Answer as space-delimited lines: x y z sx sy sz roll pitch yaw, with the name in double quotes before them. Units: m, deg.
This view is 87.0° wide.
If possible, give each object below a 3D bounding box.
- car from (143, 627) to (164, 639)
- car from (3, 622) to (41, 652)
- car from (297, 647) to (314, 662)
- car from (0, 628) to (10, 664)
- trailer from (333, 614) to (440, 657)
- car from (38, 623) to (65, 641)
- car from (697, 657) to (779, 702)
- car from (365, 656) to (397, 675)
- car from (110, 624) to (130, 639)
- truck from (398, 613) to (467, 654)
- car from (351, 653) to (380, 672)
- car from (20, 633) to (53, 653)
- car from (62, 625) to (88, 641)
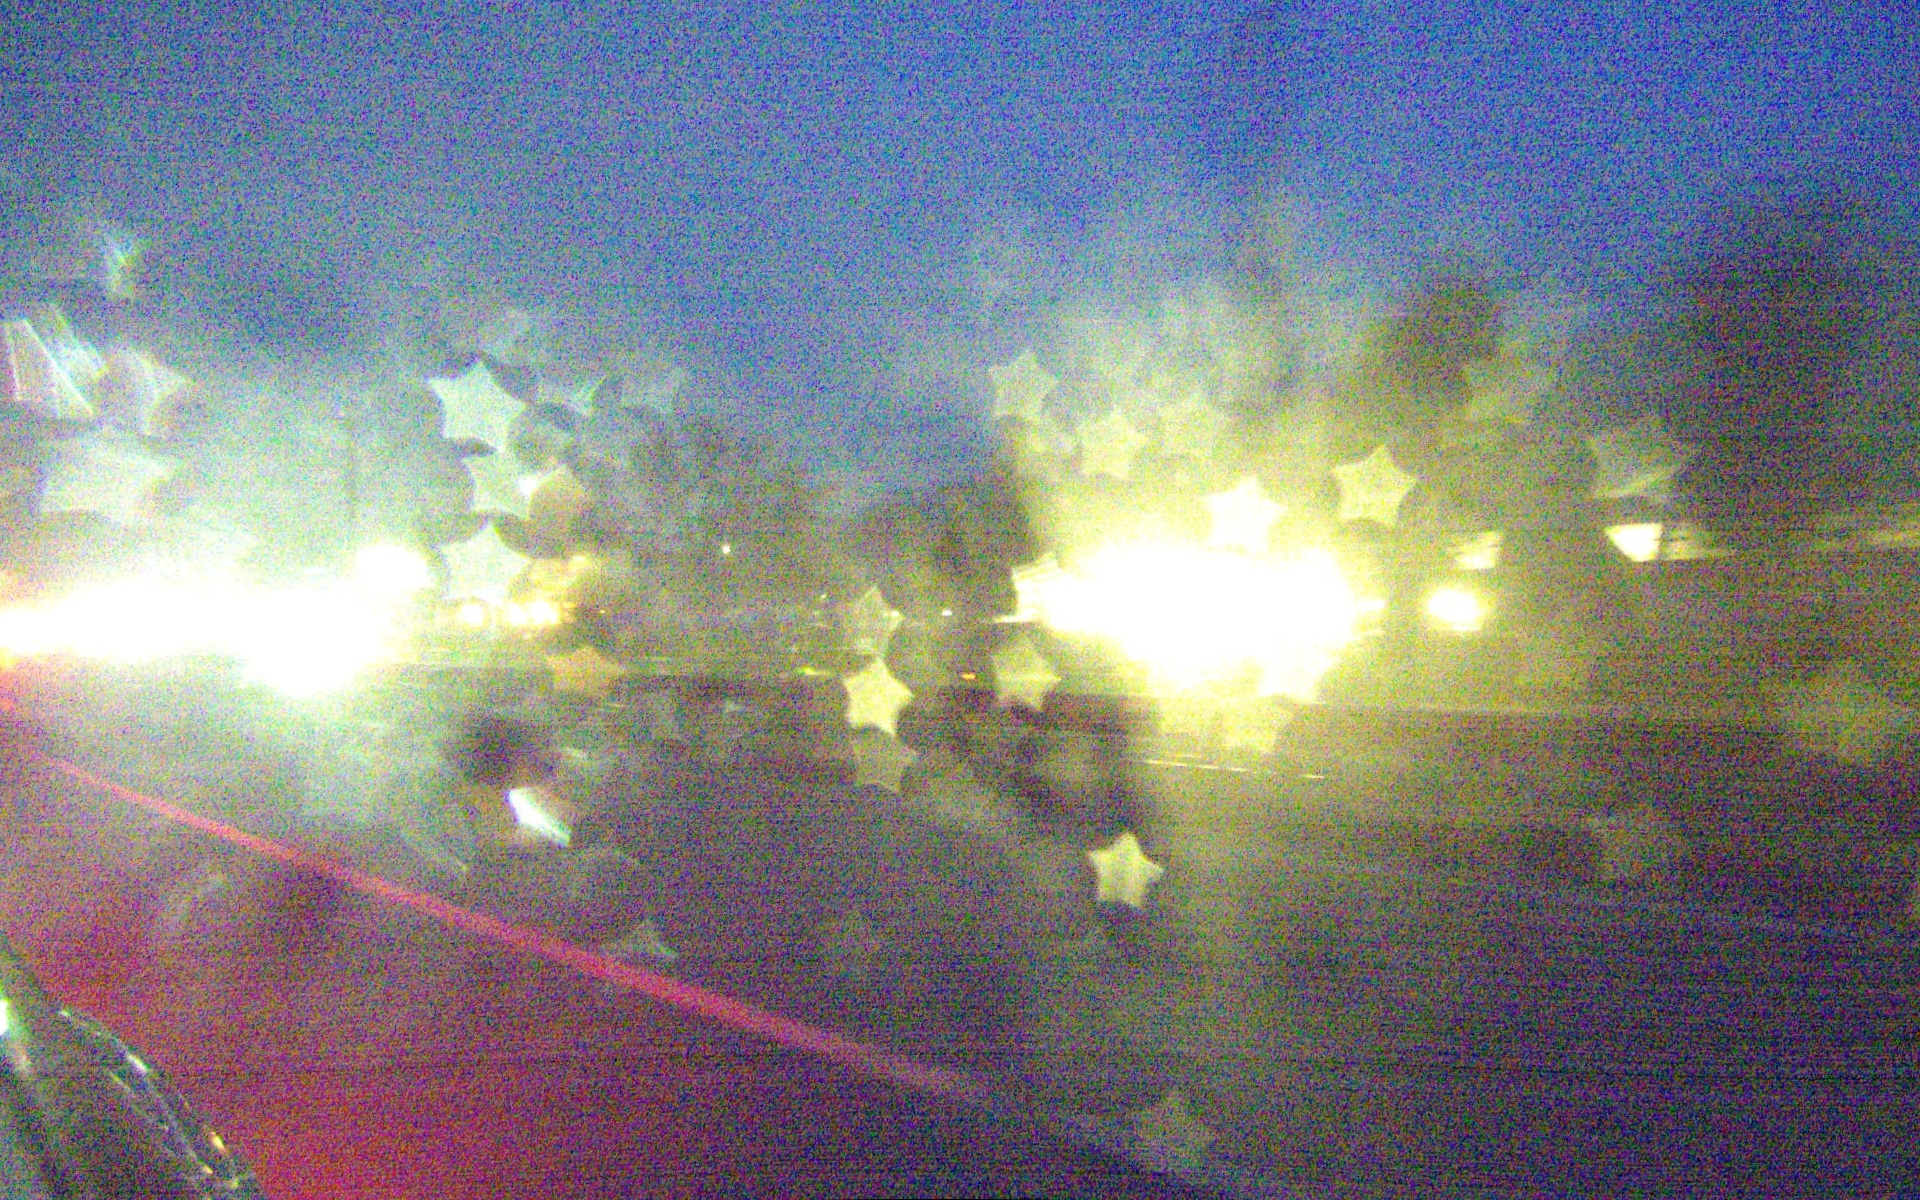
"car" -130.858 5.313 164.282 1.966 1.819 4.609 -1 0 -31
"car" -68.279 2.654 73.691 1.970 2.090 4.004 -1 0 -43
"car" -86.645 7.167 133.880 1.784 1.688 4.304 -1 0 -34
"car" -46.426 2.166 47.773 4.612 1.625 1.972 -1 -1 43
"trailer" -69.342 4.207 122.792 3.318 4.832 11.460 -1 0 24
"car" -86.422 3.033 96.324 1.666 1.693 3.475 0 -1 -38
"car" -11.300 3.999 51.389 3.996 2.029 1.974 -1 0 39
"car" -54.635 6.174 95.513 1.786 1.582 4.298 -1 0 -42
"car" -110.321 4.105 132.873 1.765 1.635 4.387 0 2 -36
"truck" -66.794 4.162 128.248 3.318 4.832 7.259 -1 0 24
"car" -61.030 6.357 103.797 1.786 1.688 4.298 -1 0 -41
"car" -76.202 3.552 83.552 1.776 1.531 4.543 1 -1 -40
"car" -96.225 3.591 110.052 1.793 1.571 4.187 -1 0 -37
